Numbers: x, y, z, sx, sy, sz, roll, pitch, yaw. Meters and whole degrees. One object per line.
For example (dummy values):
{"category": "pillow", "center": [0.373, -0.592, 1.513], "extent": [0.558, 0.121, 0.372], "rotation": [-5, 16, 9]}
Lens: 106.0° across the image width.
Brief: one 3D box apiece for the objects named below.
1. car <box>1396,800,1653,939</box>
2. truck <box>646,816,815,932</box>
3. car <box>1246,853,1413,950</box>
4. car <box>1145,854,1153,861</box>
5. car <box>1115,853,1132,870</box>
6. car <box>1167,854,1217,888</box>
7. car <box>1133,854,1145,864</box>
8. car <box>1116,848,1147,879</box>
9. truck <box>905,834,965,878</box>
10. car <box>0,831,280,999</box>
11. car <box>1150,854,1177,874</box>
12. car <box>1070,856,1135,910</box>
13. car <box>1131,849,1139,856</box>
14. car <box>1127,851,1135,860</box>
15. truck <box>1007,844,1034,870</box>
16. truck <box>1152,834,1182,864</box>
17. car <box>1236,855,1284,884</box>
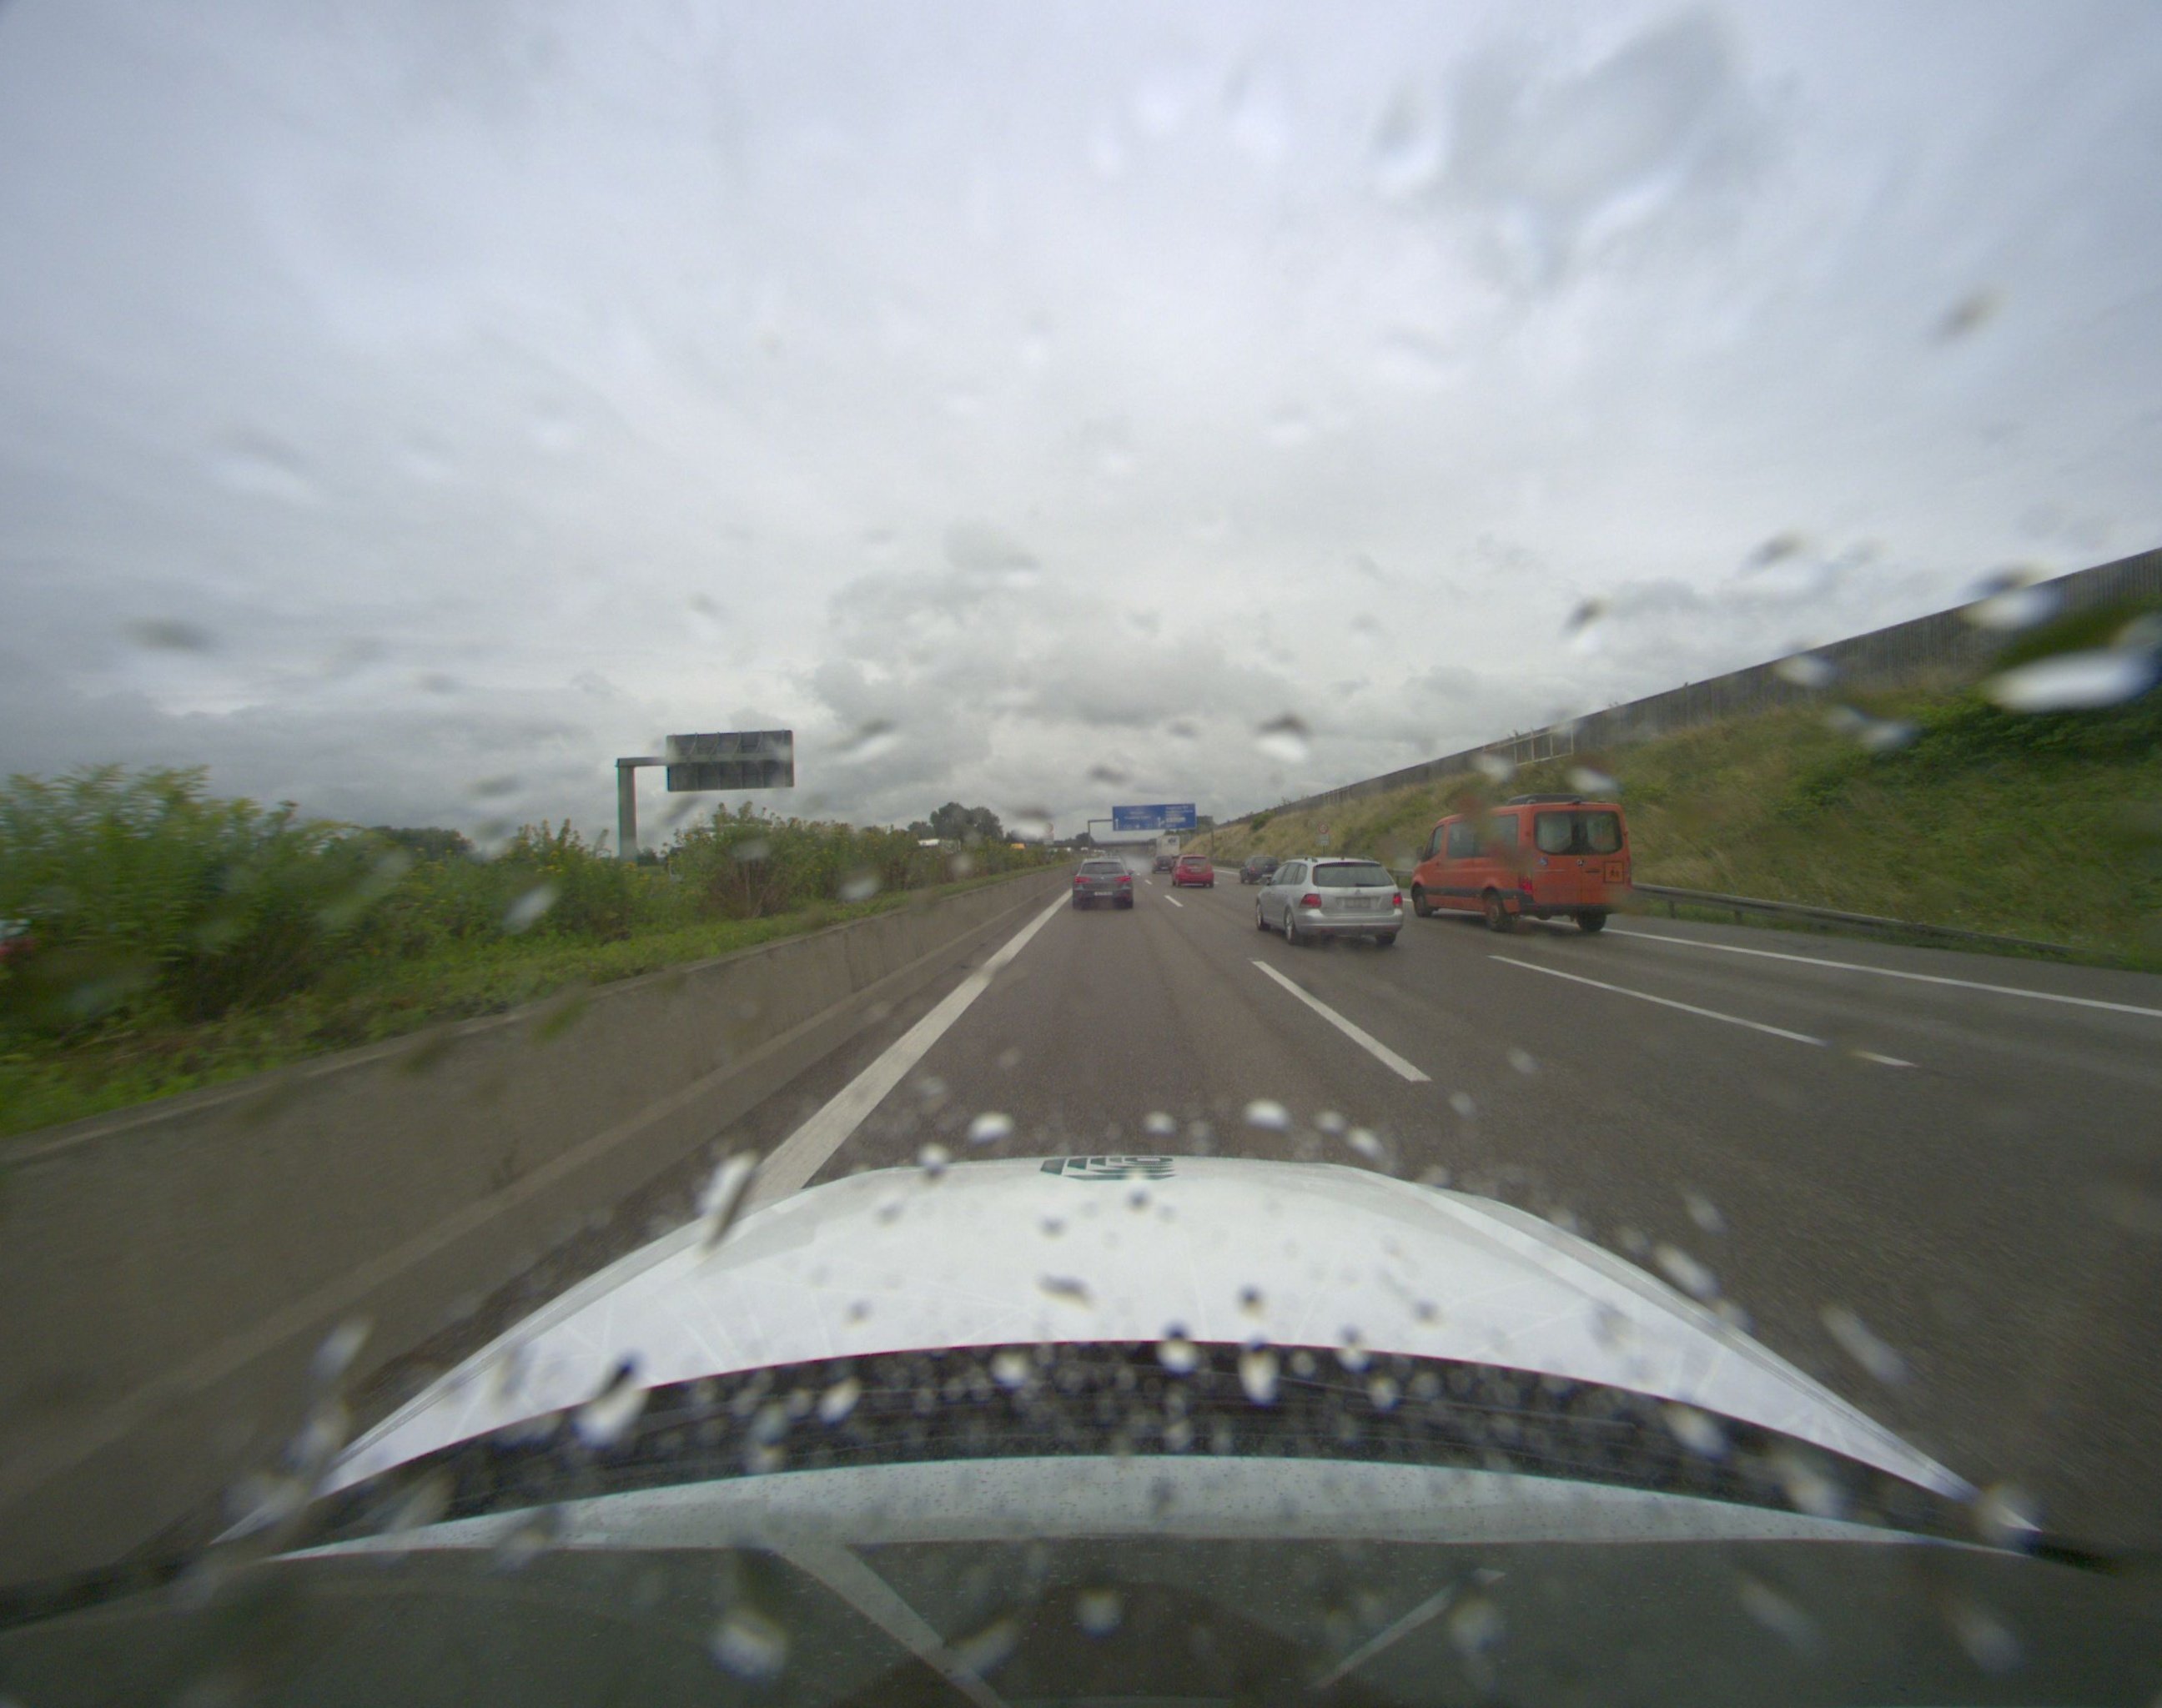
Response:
{"category": "car", "center": [8.718, 0.255, 16.916], "extent": [2.078, 2.315, 6.183], "rotation": [-1, 0, 1]}
{"category": "truck", "center": [-15.606, 0.846, 37.415], "extent": [3.212, 4.649, 9.679], "rotation": [0, -1, 2]}
{"category": "car", "center": [4.237, 0.726, 14.640], "extent": [1.735, 1.425, 4.519], "rotation": [-2, 0, 2]}
{"category": "car", "center": [18.558, 0.909, 222.558], "extent": [1.987, 1.860, 4.390], "rotation": [-1, 0, 0]}
{"category": "car", "center": [4.636, 0.815, 89.815], "extent": [1.698, 1.796, 3.856], "rotation": [-3, 0, 1]}
{"category": "car", "center": [5.199, 0.743, 38.596], "extent": [1.884, 1.446, 4.687], "rotation": [-1, 0, 2]}
{"category": "car", "center": [9.867, 0.786, 138.502], "extent": [1.839, 1.687, 4.000], "rotation": [0, -1, 1]}
{"category": "car", "center": [2.925, 0.531, 48.117], "extent": [1.747, 1.750, 4.002], "rotation": [0, -1, 2]}
{"category": "truck", "center": [-13.832, 0.239, 78.366], "extent": [3.170, 3.967, 10.820], "rotation": [0, -1, 3]}
{"category": "car", "center": [-12.637, 0.670, 9.855], "extent": [1.852, 1.820, 4.002], "rotation": [-1, 0, 2]}
{"category": "car", "center": [6.580, 0.750, 65.401], "extent": [1.913, 1.522, 4.625], "rotation": [-1, 0, 2]}
{"category": "car", "center": [0.627, 0.808, 24.175], "extent": [1.762, 1.467, 4.001], "rotation": [0, -1, 1]}
{"category": "car", "center": [15.064, -0.435, 226.121], "extent": [1.987, 2.013, 3.999], "rotation": [-2, 0, 0]}
{"category": "car", "center": [11.325, 0.432, 184.731], "extent": [1.985, 2.014, 4.245], "rotation": [0, -1, 3]}
{"category": "truck", "center": [-10.482, 0.509, 142.374], "extent": [3.398, 4.364, 10.998], "rotation": [0, -1, 3]}
{"category": "truck", "center": [13.110, -0.654, 125.330], "extent": [3.271, 4.295, 19.041], "rotation": [0, 0, 2]}
{"category": "car", "center": [8.910, 0.747, 40.841], "extent": [1.695, 1.401, 3.877], "rotation": [0, -1, 2]}
